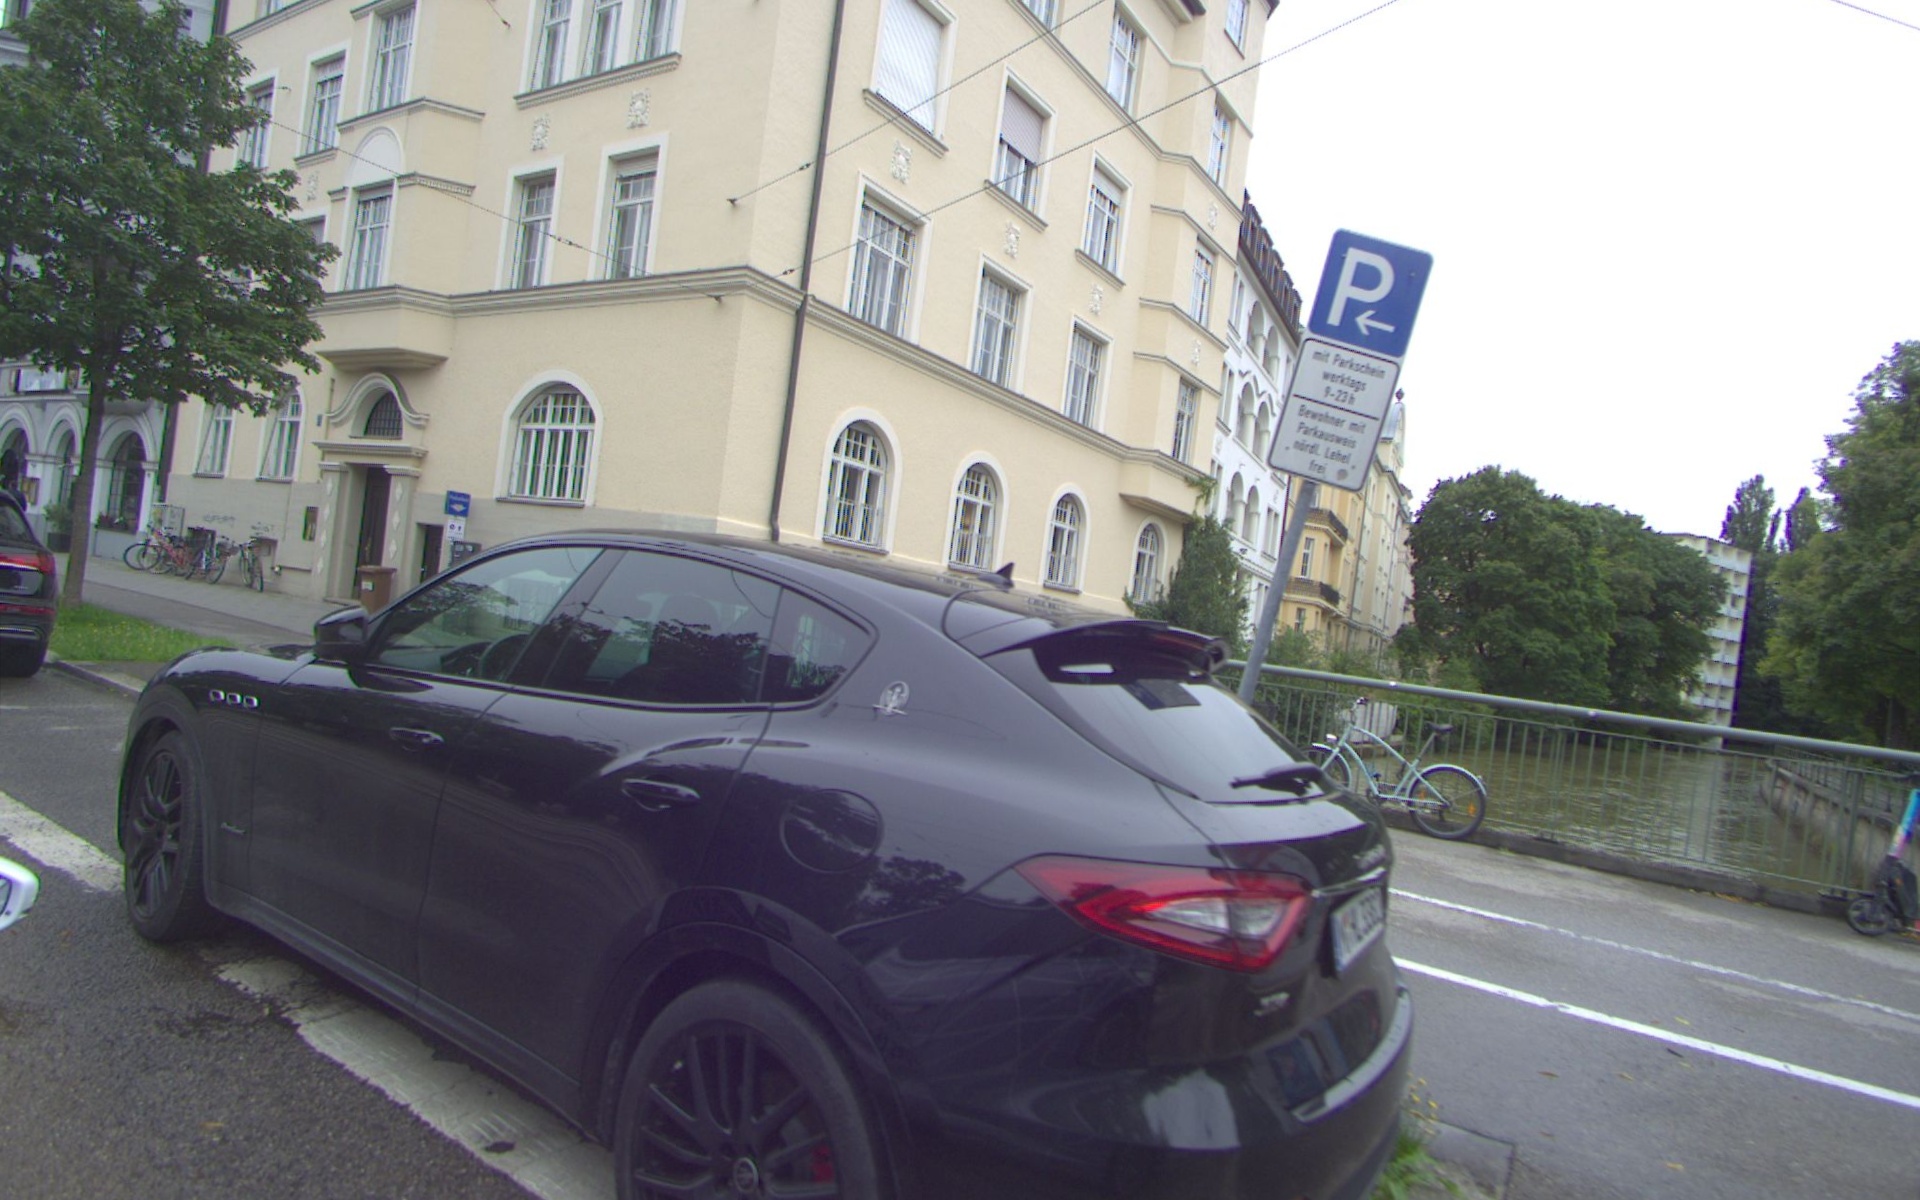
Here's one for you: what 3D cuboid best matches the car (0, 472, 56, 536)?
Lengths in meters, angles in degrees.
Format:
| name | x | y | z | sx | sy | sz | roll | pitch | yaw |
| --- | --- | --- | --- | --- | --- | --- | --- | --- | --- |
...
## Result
| name | x | y | z | sx | sy | sz | roll | pitch | yaw |
| --- | --- | --- | --- | --- | --- | --- | --- | --- | --- |
| car | -45.682 | -4.764 | 46.389 | 2.193 | 2.641 | 5.311 | 7 | -3 | 30 |

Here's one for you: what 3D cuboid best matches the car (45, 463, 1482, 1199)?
| name | x | y | z | sx | sy | sz | roll | pitch | yaw |
| --- | --- | --- | --- | --- | --- | --- | --- | --- | --- |
| car | -0.984 | 0.626 | 3.402 | 4.589 | 1.628 | 1.905 | 7 | -2 | 33 |

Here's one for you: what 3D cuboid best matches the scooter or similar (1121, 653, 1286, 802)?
| name | x | y | z | sx | sy | sz | roll | pitch | yaw |
| --- | --- | --- | --- | --- | --- | --- | --- | --- | --- |
| scooter or similar | 2.447 | 1.278 | 10.195 | 1.467 | 1.277 | 0.245 | 7 | -1 | 10 |

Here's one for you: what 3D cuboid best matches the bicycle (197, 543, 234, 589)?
| name | x | y | z | sx | sy | sz | roll | pitch | yaw |
| --- | --- | --- | --- | --- | --- | --- | --- | --- | --- |
| bicycle | -16.713 | -0.766 | 22.574 | 0.871 | 0.941 | 0.285 | 6 | -2 | 34 |

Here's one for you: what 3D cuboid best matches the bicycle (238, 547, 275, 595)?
| name | x | y | z | sx | sy | sz | roll | pitch | yaw |
| --- | --- | --- | --- | --- | --- | --- | --- | --- | --- |
| bicycle | -15.097 | -0.617 | 21.588 | 0.871 | 0.941 | 0.222 | 6 | -2 | 32 |

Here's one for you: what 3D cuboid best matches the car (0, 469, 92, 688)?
| name | x | y | z | sx | sy | sz | roll | pitch | yaw |
| --- | --- | --- | --- | --- | --- | --- | --- | --- | --- |
| car | -9.532 | -0.413 | 8.711 | 4.415 | 1.677 | 1.777 | 6 | -2 | 33 |

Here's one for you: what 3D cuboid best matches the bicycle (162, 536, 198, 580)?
| name | x | y | z | sx | sy | sz | roll | pitch | yaw |
| --- | --- | --- | --- | --- | --- | --- | --- | --- | --- |
| bicycle | -18.538 | -1.007 | 23.907 | 0.872 | 0.941 | 0.306 | 6 | -2 | 35 |

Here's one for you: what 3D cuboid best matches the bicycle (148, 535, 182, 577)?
| name | x | y | z | sx | sy | sz | roll | pitch | yaw |
| --- | --- | --- | --- | --- | --- | --- | --- | --- | --- |
| bicycle | -19.313 | -1.067 | 24.447 | 0.871 | 0.941 | 0.291 | 6 | -2 | 34 |

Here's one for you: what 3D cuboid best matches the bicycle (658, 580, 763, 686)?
| name | x | y | z | sx | sy | sz | roll | pitch | yaw |
| --- | --- | --- | --- | --- | --- | --- | --- | --- | --- |
| bicycle | -3.569 | 0.452 | 14.331 | 1.511 | 1.327 | 0.332 | 6 | -2 | 31 |

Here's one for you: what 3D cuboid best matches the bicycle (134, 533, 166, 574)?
| name | x | y | z | sx | sy | sz | roll | pitch | yaw |
| --- | --- | --- | --- | --- | --- | --- | --- | --- | --- |
| bicycle | -20.083 | -1.156 | 24.946 | 0.871 | 0.941 | 0.259 | 6 | -2 | 34 |

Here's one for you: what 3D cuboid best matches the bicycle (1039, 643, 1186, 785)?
| name | x | y | z | sx | sy | sz | roll | pitch | yaw |
| --- | --- | --- | --- | --- | --- | --- | --- | --- | --- |
| bicycle | 1.626 | 1.196 | 10.717 | 1.383 | 1.296 | 0.283 | 7 | -1 | 13 |

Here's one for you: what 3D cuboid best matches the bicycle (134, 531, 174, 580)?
| name | x | y | z | sx | sy | sz | roll | pitch | yaw |
| --- | --- | --- | --- | --- | --- | --- | --- | --- | --- |
| bicycle | -19.054 | -1.058 | 23.773 | 1.203 | 1.051 | 0.242 | 6 | -2 | 33 |

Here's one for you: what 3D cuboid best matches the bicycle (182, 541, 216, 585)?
| name | x | y | z | sx | sy | sz | roll | pitch | yaw |
| --- | --- | --- | --- | --- | --- | --- | --- | --- | --- |
| bicycle | -17.692 | -0.864 | 23.384 | 0.871 | 0.941 | 0.273 | 6 | -2 | 34 |

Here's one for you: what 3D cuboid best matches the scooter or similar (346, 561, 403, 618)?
| name | x | y | z | sx | sy | sz | roll | pitch | yaw |
| --- | --- | --- | --- | --- | --- | --- | --- | --- | --- |
| scooter or similar | -11.120 | -0.190 | 19.106 | 0.538 | 0.957 | 0.662 | 6 | -2 | 34 |

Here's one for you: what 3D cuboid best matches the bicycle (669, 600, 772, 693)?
| name | x | y | z | sx | sy | sz | roll | pitch | yaw |
| --- | --- | --- | --- | --- | --- | --- | --- | --- | --- |
| bicycle | -3.359 | 0.640 | 14.089 | 1.417 | 1.119 | 0.287 | 7 | -1 | 26 |

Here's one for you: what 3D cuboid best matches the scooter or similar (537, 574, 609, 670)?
| name | x | y | z | sx | sy | sz | roll | pitch | yaw |
| --- | --- | --- | --- | --- | --- | --- | --- | --- | --- |
| scooter or similar | -5.918 | 0.327 | 15.371 | 1.124 | 1.327 | 0.262 | 6 | -2 | 33 |

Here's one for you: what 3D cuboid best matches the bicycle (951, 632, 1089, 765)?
| name | x | y | z | sx | sy | sz | roll | pitch | yaw |
| --- | --- | --- | --- | --- | --- | --- | --- | --- | --- |
| bicycle | 0.670 | 1.099 | 11.402 | 1.384 | 1.296 | 0.283 | 7 | -2 | 21 |

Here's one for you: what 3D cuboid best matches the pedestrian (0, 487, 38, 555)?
| name | x | y | z | sx | sy | sz | roll | pitch | yaw |
| --- | --- | --- | --- | --- | --- | --- | --- | --- | --- |
| pedestrian | -26.396 | -2.199 | 27.992 | 0.829 | 1.751 | 0.706 | 7 | -2 | 33 |

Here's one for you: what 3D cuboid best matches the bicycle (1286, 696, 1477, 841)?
| name | x | y | z | sx | sy | sz | roll | pitch | yaw |
| --- | --- | --- | --- | --- | --- | --- | --- | --- | --- |
| bicycle | 3.922 | 1.556 | 9.437 | 1.513 | 1.094 | 0.265 | 7 | -2 | 18 |
